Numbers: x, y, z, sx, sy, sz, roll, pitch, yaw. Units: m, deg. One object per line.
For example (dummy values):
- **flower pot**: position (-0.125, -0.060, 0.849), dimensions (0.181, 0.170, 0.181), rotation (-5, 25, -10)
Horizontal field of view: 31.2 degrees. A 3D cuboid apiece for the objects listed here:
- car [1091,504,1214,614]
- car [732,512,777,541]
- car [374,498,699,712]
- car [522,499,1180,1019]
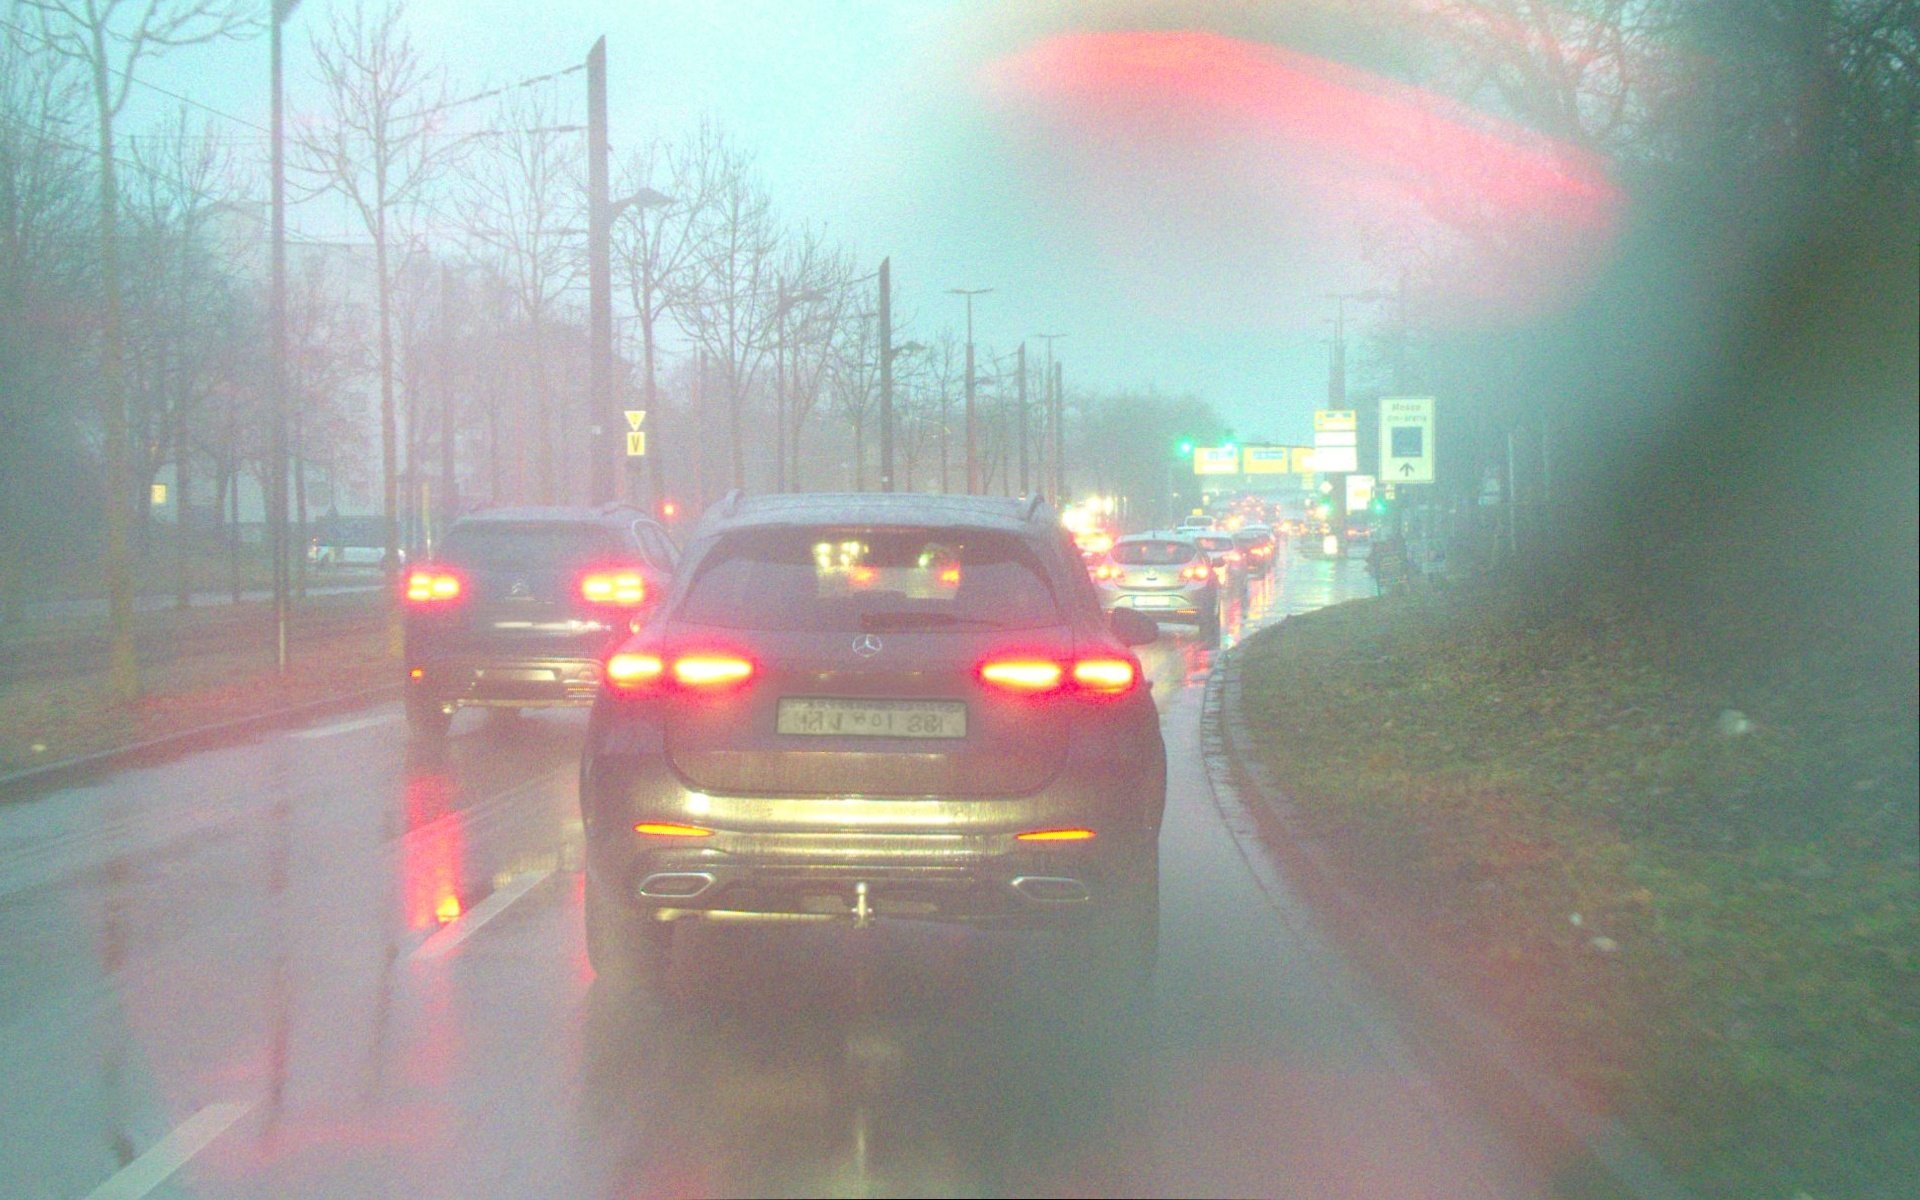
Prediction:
- **car**: position (2.812, -0.628, 50.941), dimensions (1.709, 1.552, 3.996), rotation (0, 1, 2)
- **car**: position (-11.962, -4.264, 200.206), dimensions (1.994, 1.652, 3.999), rotation (1, 1, 6)
- **car**: position (-3.075, -0.024, 25.726), dimensions (1.880, 1.454, 4.000), rotation (-1, 2, 1)
- **car**: position (-0.390, 0.431, 12.453), dimensions (1.998, 1.578, 4.001), rotation (0, 2, -2)
